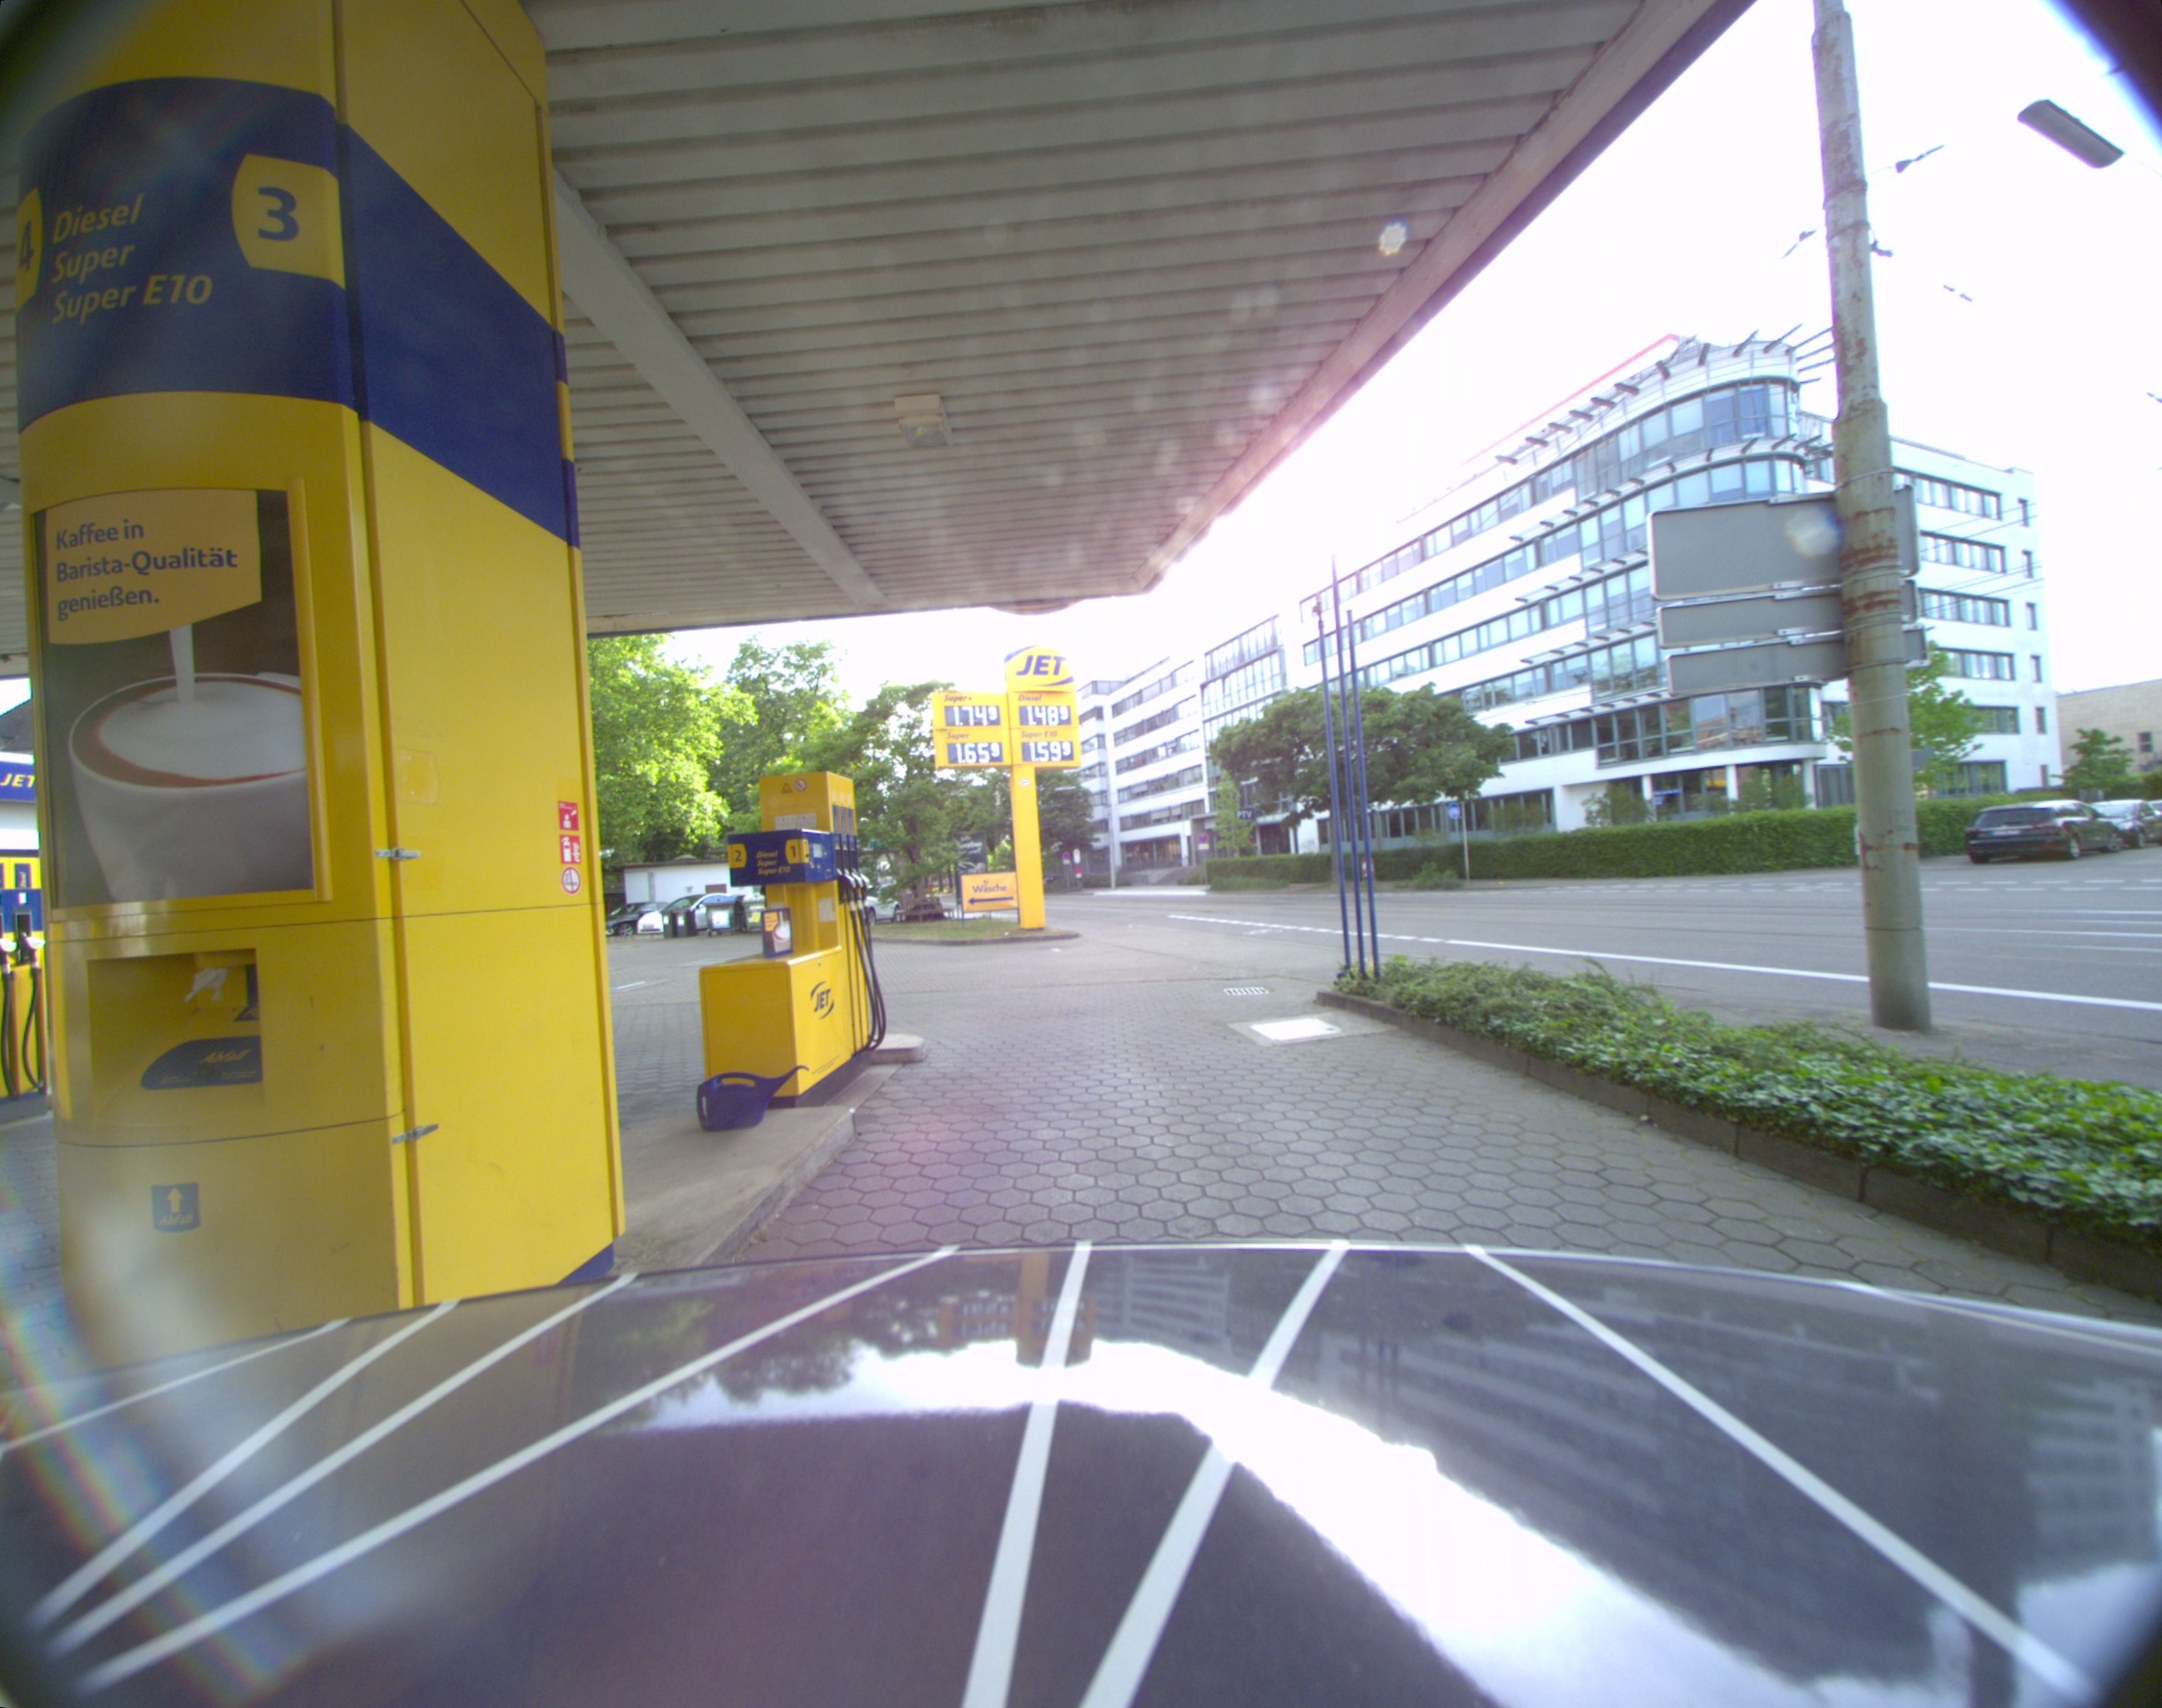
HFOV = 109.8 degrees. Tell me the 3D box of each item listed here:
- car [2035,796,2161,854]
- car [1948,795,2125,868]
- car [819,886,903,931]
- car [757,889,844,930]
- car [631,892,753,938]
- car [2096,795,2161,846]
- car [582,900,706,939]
[{"bbox_3d":[32.493,-0.938,24.048,4.109,1.544,1.786,-4,-1,-23],"label":"car"},{"bbox_3d":[27.377,-0.646,21.778,4.438,1.603,1.976,-5,-1,-23],"label":"car"},{"bbox_3d":[-8.685,2.117,30.391,1.739,1.500,4.003,-4,-2,6],"label":"car"},{"bbox_3d":[-11.800,2.323,32.253,1.739,1.500,4.004,-4,-2,6],"label":"car"},{"bbox_3d":[-15.358,2.384,30.265,1.785,1.514,4.229,-4,-3,17],"label":"car"},{"bbox_3d":[37.152,-1.232,26.086,4.109,1.544,1.786,-4,-1,-23],"label":"car"},{"bbox_3d":[-17.744,2.632,31.081,1.745,1.269,4.230,-5,-3,19],"label":"car"}]
